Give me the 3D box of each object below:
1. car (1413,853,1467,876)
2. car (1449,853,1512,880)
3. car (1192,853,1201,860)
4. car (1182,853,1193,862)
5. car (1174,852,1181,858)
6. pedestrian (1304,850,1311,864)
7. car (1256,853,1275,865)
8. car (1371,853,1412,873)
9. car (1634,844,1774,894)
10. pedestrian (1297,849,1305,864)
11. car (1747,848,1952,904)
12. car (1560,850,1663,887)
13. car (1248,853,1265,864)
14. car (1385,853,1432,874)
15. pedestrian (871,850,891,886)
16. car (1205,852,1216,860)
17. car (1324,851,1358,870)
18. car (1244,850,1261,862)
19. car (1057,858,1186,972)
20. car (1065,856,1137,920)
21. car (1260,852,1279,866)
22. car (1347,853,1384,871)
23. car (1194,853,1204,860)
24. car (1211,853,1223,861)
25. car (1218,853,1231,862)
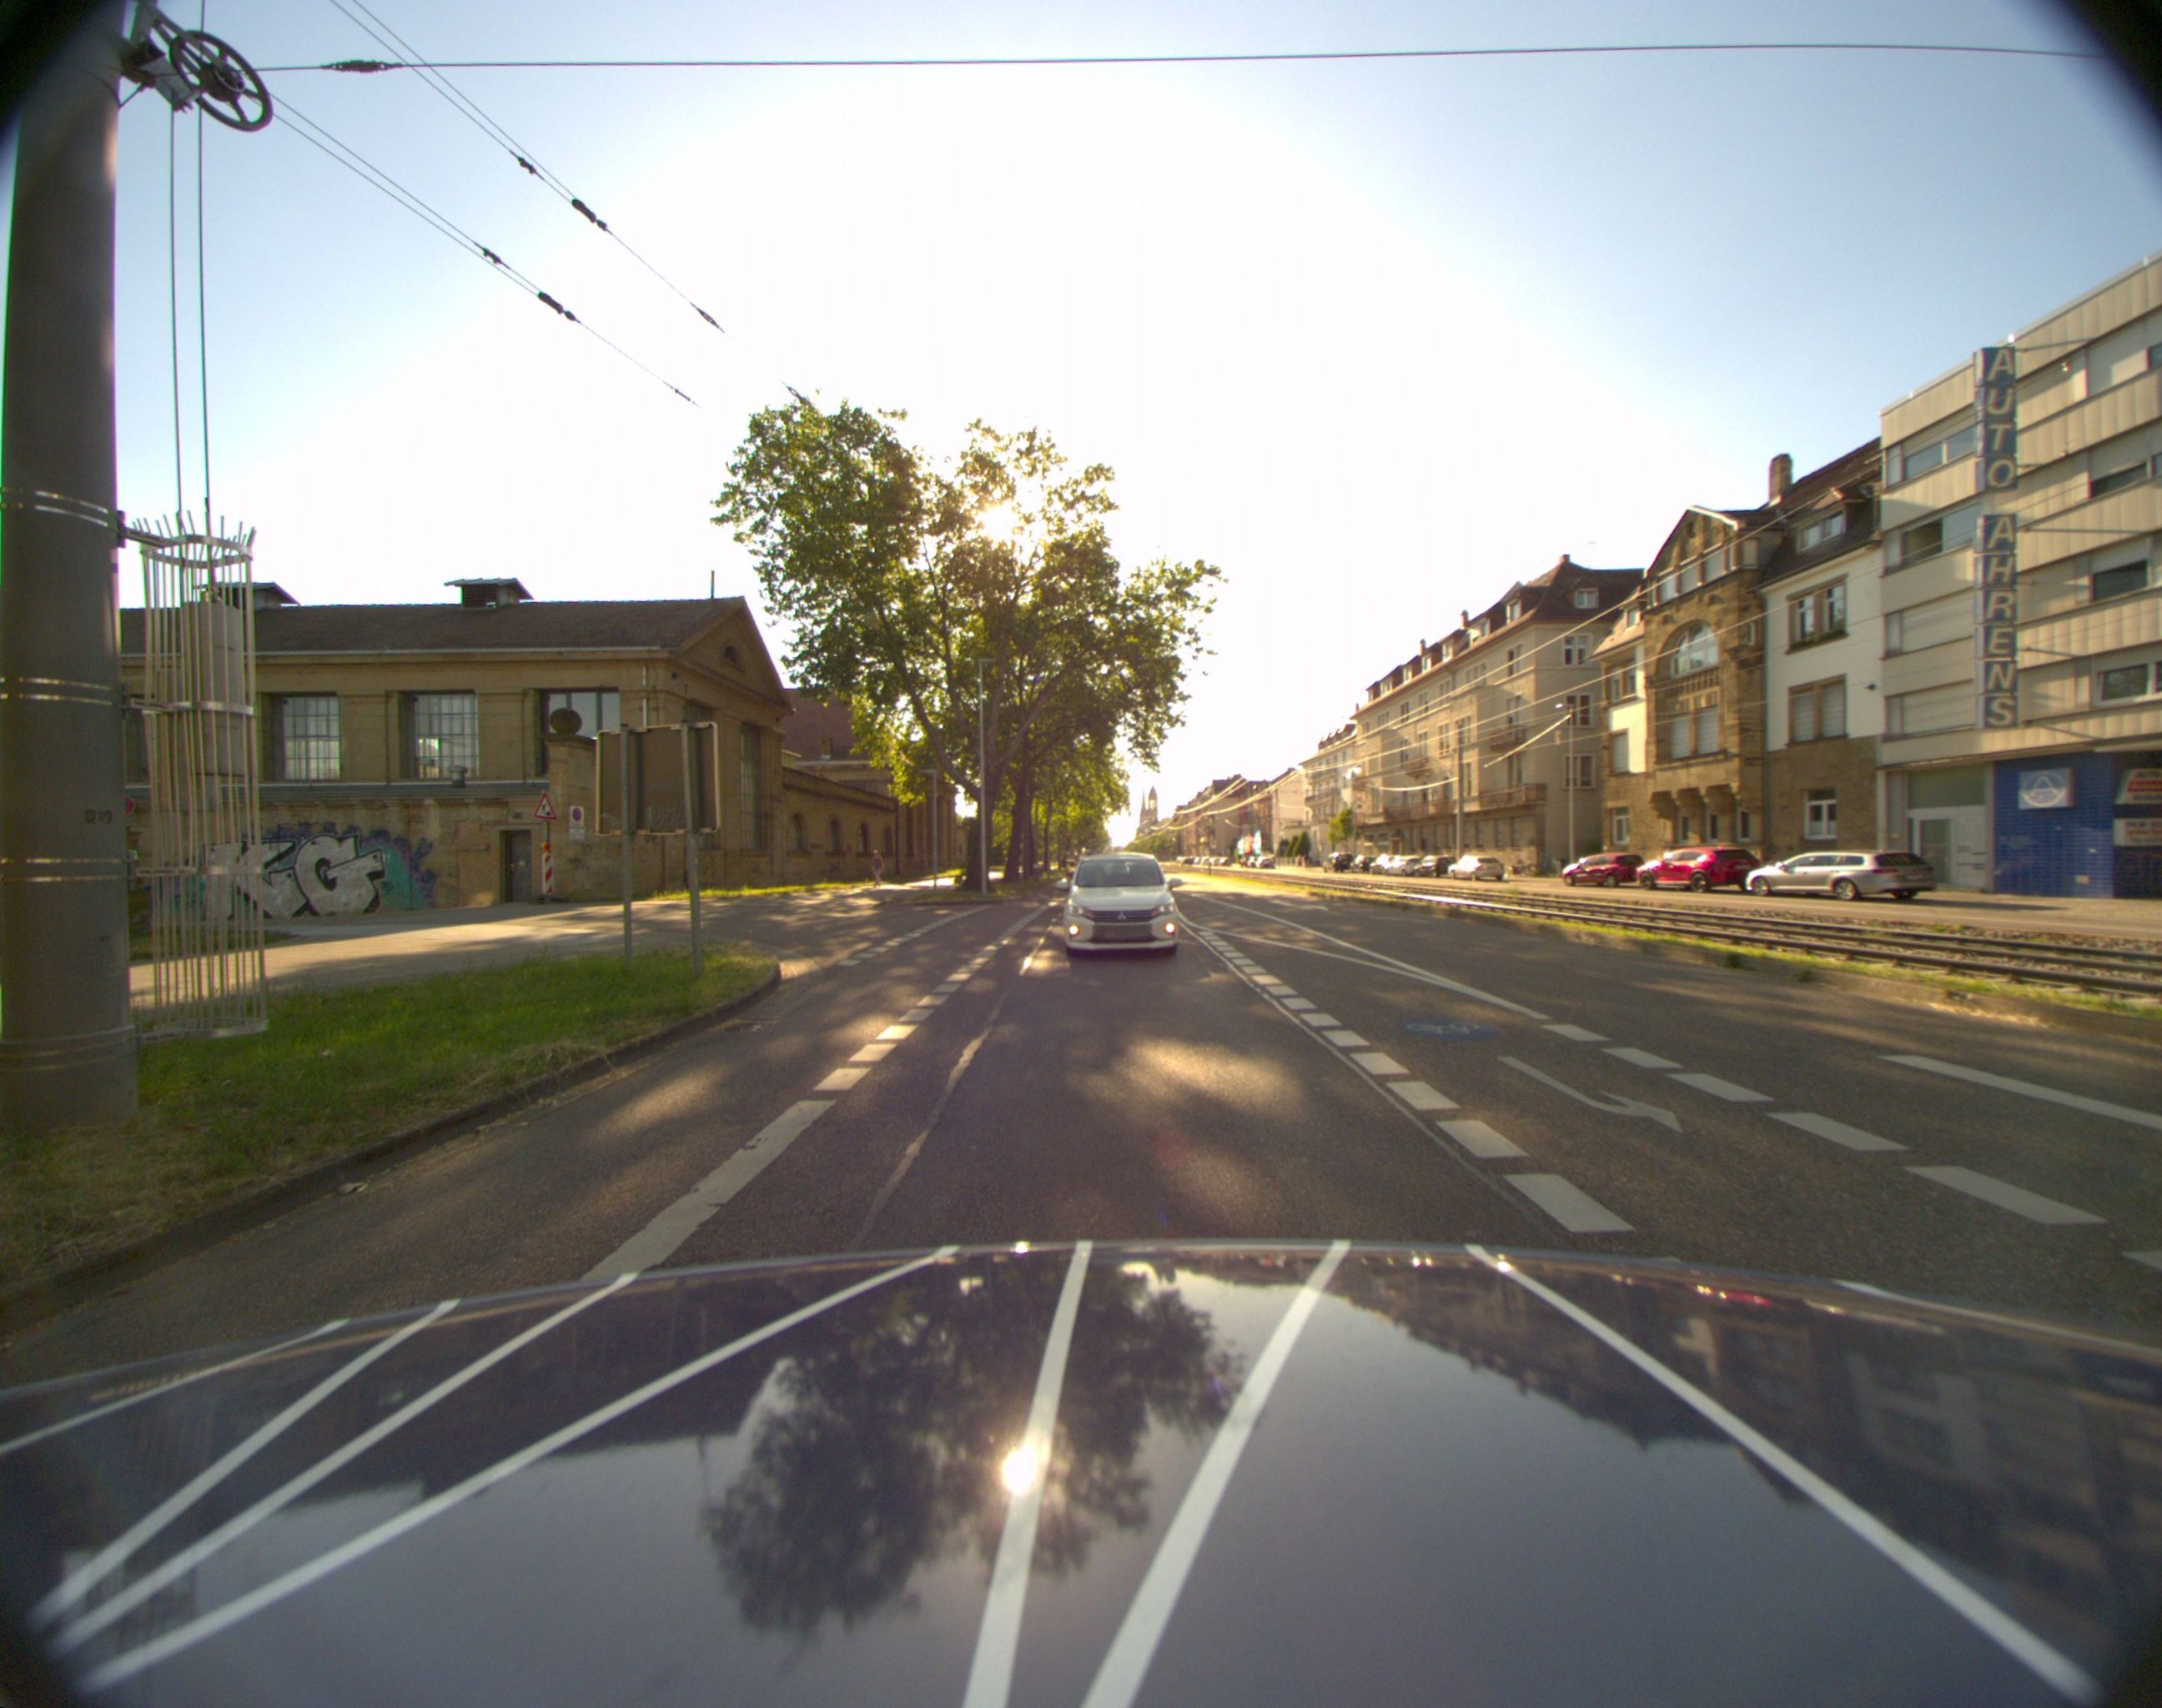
[{"bbox_3d":[24.067,0.681,51.105,1.802,1.422,3.823,-2,0,0],"label":"car"},{"bbox_3d":[23.970,0.716,45.747,1.802,1.470,3.823,-2,0,2],"label":"car"},{"bbox_3d":[27.106,0.472,178.462,1.624,1.581,3.450,-2,0,1],"label":"car"},{"bbox_3d":[20.930,0.700,149.221,1.822,1.674,4.000,-1,0,2],"label":"car"},{"bbox_3d":[28.487,0.215,223.587,1.624,1.581,3.450,-2,0,1],"label":"car"},{"bbox_3d":[28.192,0.372,94.572,0.725,1.779,0.678,0,1,1],"label":"pedestrian"},{"bbox_3d":[25.133,0.630,103.506,1.684,1.562,3.388,-2,0,1],"label":"car"},{"bbox_3d":[24.533,0.680,60.171,1.802,1.470,3.823,-2,0,2],"label":"car"},{"bbox_3d":[23.408,0.530,28.787,1.860,1.677,4.263,-3,0,2],"label":"car"},{"bbox_3d":[27.393,0.314,94.624,0.725,1.779,0.678,0,1,1],"label":"pedestrian"},{"bbox_3d":[23.315,0.626,23.343,1.860,1.490,4.382,-3,0,0],"label":"car"},{"bbox_3d":[23.591,0.627,33.944,1.756,1.487,3.728,-3,0,-5],"label":"car"},{"bbox_3d":[25.027,0.631,108.417,1.684,1.562,3.388,-2,0,1],"label":"car"},{"bbox_3d":[23.758,0.682,55.232,1.642,1.438,3.538,-2,0,-6],"label":"car"},{"bbox_3d":[-9.431,0.658,35.818,0.672,1.652,0.874,0,1,1],"label":"pedestrian"},{"bbox_3d":[26.495,0.459,155.230,1.624,1.581,3.450,-2,0,1],"label":"car"},{"bbox_3d":[24.445,0.604,71.577,1.875,1.726,3.916,-2,0,2],"label":"car"},{"bbox_3d":[25.667,0.322,113.867,1.727,1.776,3.881,-2,0,1],"label":"car"},{"bbox_3d":[0.591,0.824,12.064,1.686,1.462,4.055,-1,0,2],"label":"car"},{"bbox_3d":[0.525,0.807,20.003,1.686,1.462,4.055,-1,0,2],"label":"car"},{"bbox_3d":[24.297,0.622,97.992,1.677,1.622,3.408,-2,0,2],"label":"car"},{"bbox_3d":[24.751,0.646,66.171,1.802,1.470,3.823,-2,0,2],"label":"car"},{"bbox_3d":[26.993,0.487,173.617,1.624,1.581,3.450,-2,0,1],"label":"car"},{"bbox_3d":[25.659,0.542,143.606,1.624,1.581,3.450,-2,0,1],"label":"car"},{"bbox_3d":[25.388,0.573,134.221,1.624,1.581,3.450,-2,0,1],"label":"car"}]
